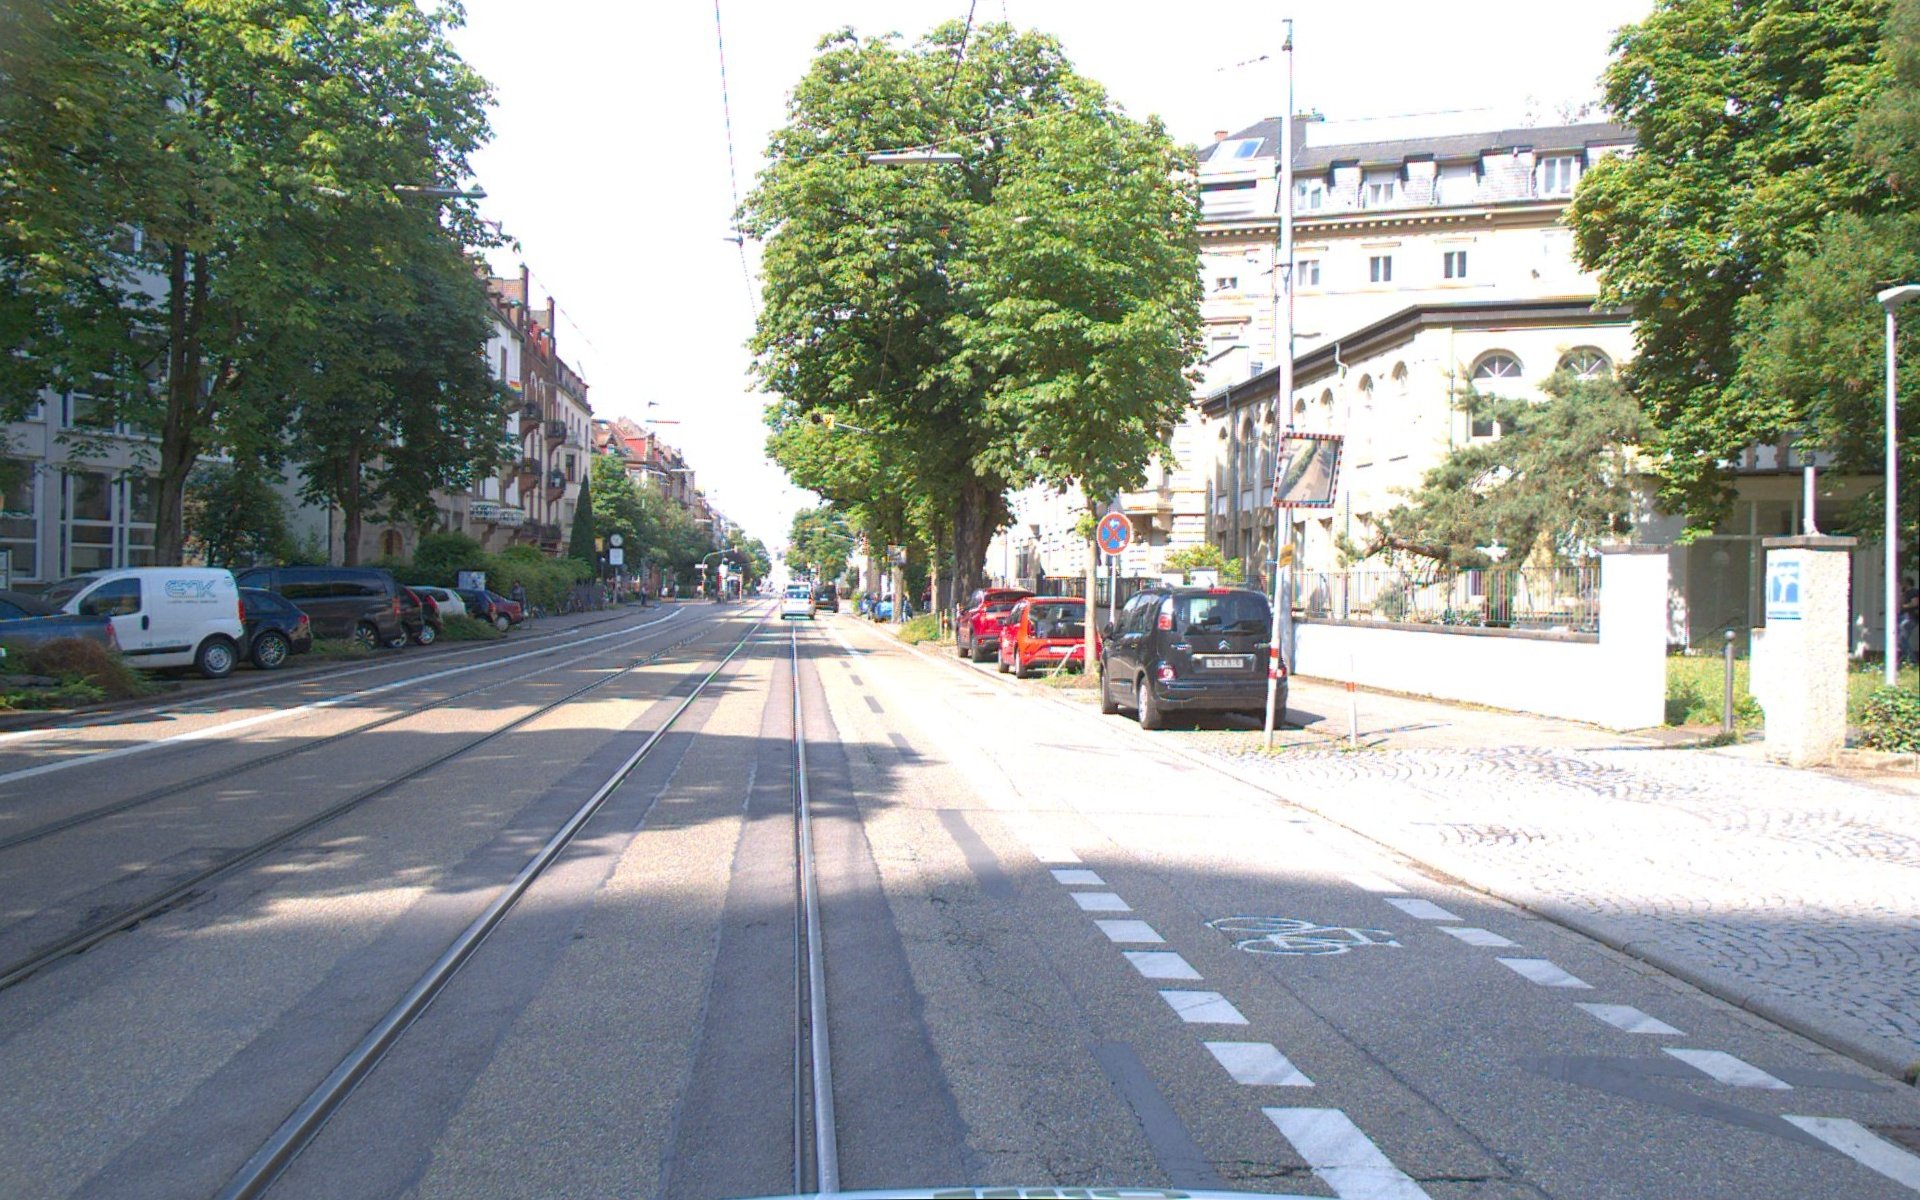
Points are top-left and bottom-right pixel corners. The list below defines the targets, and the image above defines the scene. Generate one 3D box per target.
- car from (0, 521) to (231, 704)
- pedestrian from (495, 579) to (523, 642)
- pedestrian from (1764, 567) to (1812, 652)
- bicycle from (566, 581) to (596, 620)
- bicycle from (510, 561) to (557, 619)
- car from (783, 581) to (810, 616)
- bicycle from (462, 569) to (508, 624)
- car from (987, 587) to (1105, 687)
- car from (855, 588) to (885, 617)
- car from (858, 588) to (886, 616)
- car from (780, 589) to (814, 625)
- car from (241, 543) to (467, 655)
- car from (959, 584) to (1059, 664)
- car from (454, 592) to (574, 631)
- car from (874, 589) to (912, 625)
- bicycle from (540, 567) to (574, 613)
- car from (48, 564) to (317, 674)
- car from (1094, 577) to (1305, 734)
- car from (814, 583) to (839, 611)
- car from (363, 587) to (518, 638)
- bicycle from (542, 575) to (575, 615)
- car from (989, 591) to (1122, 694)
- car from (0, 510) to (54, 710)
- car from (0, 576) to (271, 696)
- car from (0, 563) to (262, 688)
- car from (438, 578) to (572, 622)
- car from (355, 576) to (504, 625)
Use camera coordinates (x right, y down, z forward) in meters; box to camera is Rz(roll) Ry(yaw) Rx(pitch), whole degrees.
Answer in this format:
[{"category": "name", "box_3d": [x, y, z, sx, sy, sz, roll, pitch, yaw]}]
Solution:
[{"category": "car", "box_3d": [-11.185, 0.144, 19.259, 1.870, 2.033, 4.545, 0, -2, 42]}, {"category": "pedestrian", "box_3d": [-14.725, 0.346, 54.026, 0.718, 2.049, 0.824, 0, 0, -2]}, {"category": "pedestrian", "box_3d": [16.741, 0.187, 33.456, 0.754, 1.707, 0.809, 1, 0, 20]}, {"category": "bicycle", "box_3d": [-19.429, 0.018, 84.794, 0.919, 1.952, 2.499, 1, 0, 0]}, {"category": "bicycle", "box_3d": [-17.794, -0.399, 69.095, 0.919, 2.359, 4.000, 1, 0, 0]}, {"category": "car", "box_3d": [-9.970, -0.092, 100.562, 1.590, 2.035, 3.560, 1, 0, -6]}, {"category": "bicycle", "box_3d": [-17.898, -0.124, 62.333, 0.919, 2.004, 2.740, 1, 0, 0]}, {"category": "car", "box_3d": [1.581, 0.649, 31.562, 1.642, 1.639, 3.580, -2, 2, -6]}, {"category": "car", "box_3d": [-5.431, 0.141, 99.343, 1.590, 1.713, 3.560, 1, 0, -6]}, {"category": "car", "box_3d": [-5.742, 0.126, 107.459, 1.590, 1.713, 3.560, 1, 0, -6]}, {"category": "car", "box_3d": [-8.017, 0.317, 81.292, 1.590, 1.713, 3.560, 1, 0, -6]}, {"category": "car", "box_3d": [-13.073, 0.011, 35.882, 1.848, 2.117, 4.185, 3, -1, 38]}, {"category": "car", "box_3d": [1.086, 0.526, 38.601, 1.921, 1.736, 3.996, 1, 0, -4]}, {"category": "car", "box_3d": [-15.576, 0.402, 57.885, 1.611, 1.329, 3.759, 0, 0, 45]}, {"category": "car", "box_3d": [-3.272, 0.343, 80.577, 1.590, 1.713, 3.560, 1, 0, -6]}, {"category": "bicycle", "box_3d": [-18.644, -0.462, 76.599, 0.919, 2.115, 2.499, 1, 0, 0]}, {"category": "car", "box_3d": [-13.194, 0.299, 28.213, 1.847, 1.742, 3.742, 1, 0, 38]}, {"category": "car", "box_3d": [2.783, 0.580, 19.949, 1.642, 1.639, 3.580, -2, 1, -6]}, {"category": "car", "box_3d": [-9.167, -0.230, 113.544, 1.590, 1.881, 3.560, 1, 0, -6]}, {"category": "car", "box_3d": [-14.220, 0.349, 45.392, 1.611, 1.329, 3.759, 0, 0, 45]}, {"category": "bicycle", "box_3d": [-18.346, -0.219, 75.653, 0.919, 1.777, 2.284, 1, 0, 0]}, {"category": "car", "box_3d": [1.480, 0.632, 26.724, 1.635, 1.512, 3.275, -1, 0, -6]}, {"category": "car", "box_3d": [-11.362, 0.220, 15.511, 1.898, 1.945, 4.615, -1, 3, 42]}, {"category": "car", "box_3d": [-11.784, 0.473, 23.120, 1.727, 1.527, 3.623, -1, -1, 36]}, {"category": "car", "box_3d": [-12.842, 0.362, 25.075, 1.847, 1.742, 3.742, 1, 0, 38]}, {"category": "car", "box_3d": [-14.305, 0.022, 52.115, 1.611, 1.329, 3.759, 0, 0, 45]}, {"category": "car", "box_3d": [-15.120, 0.022, 47.249, 1.611, 1.329, 3.759, 0, 0, 45]}]
